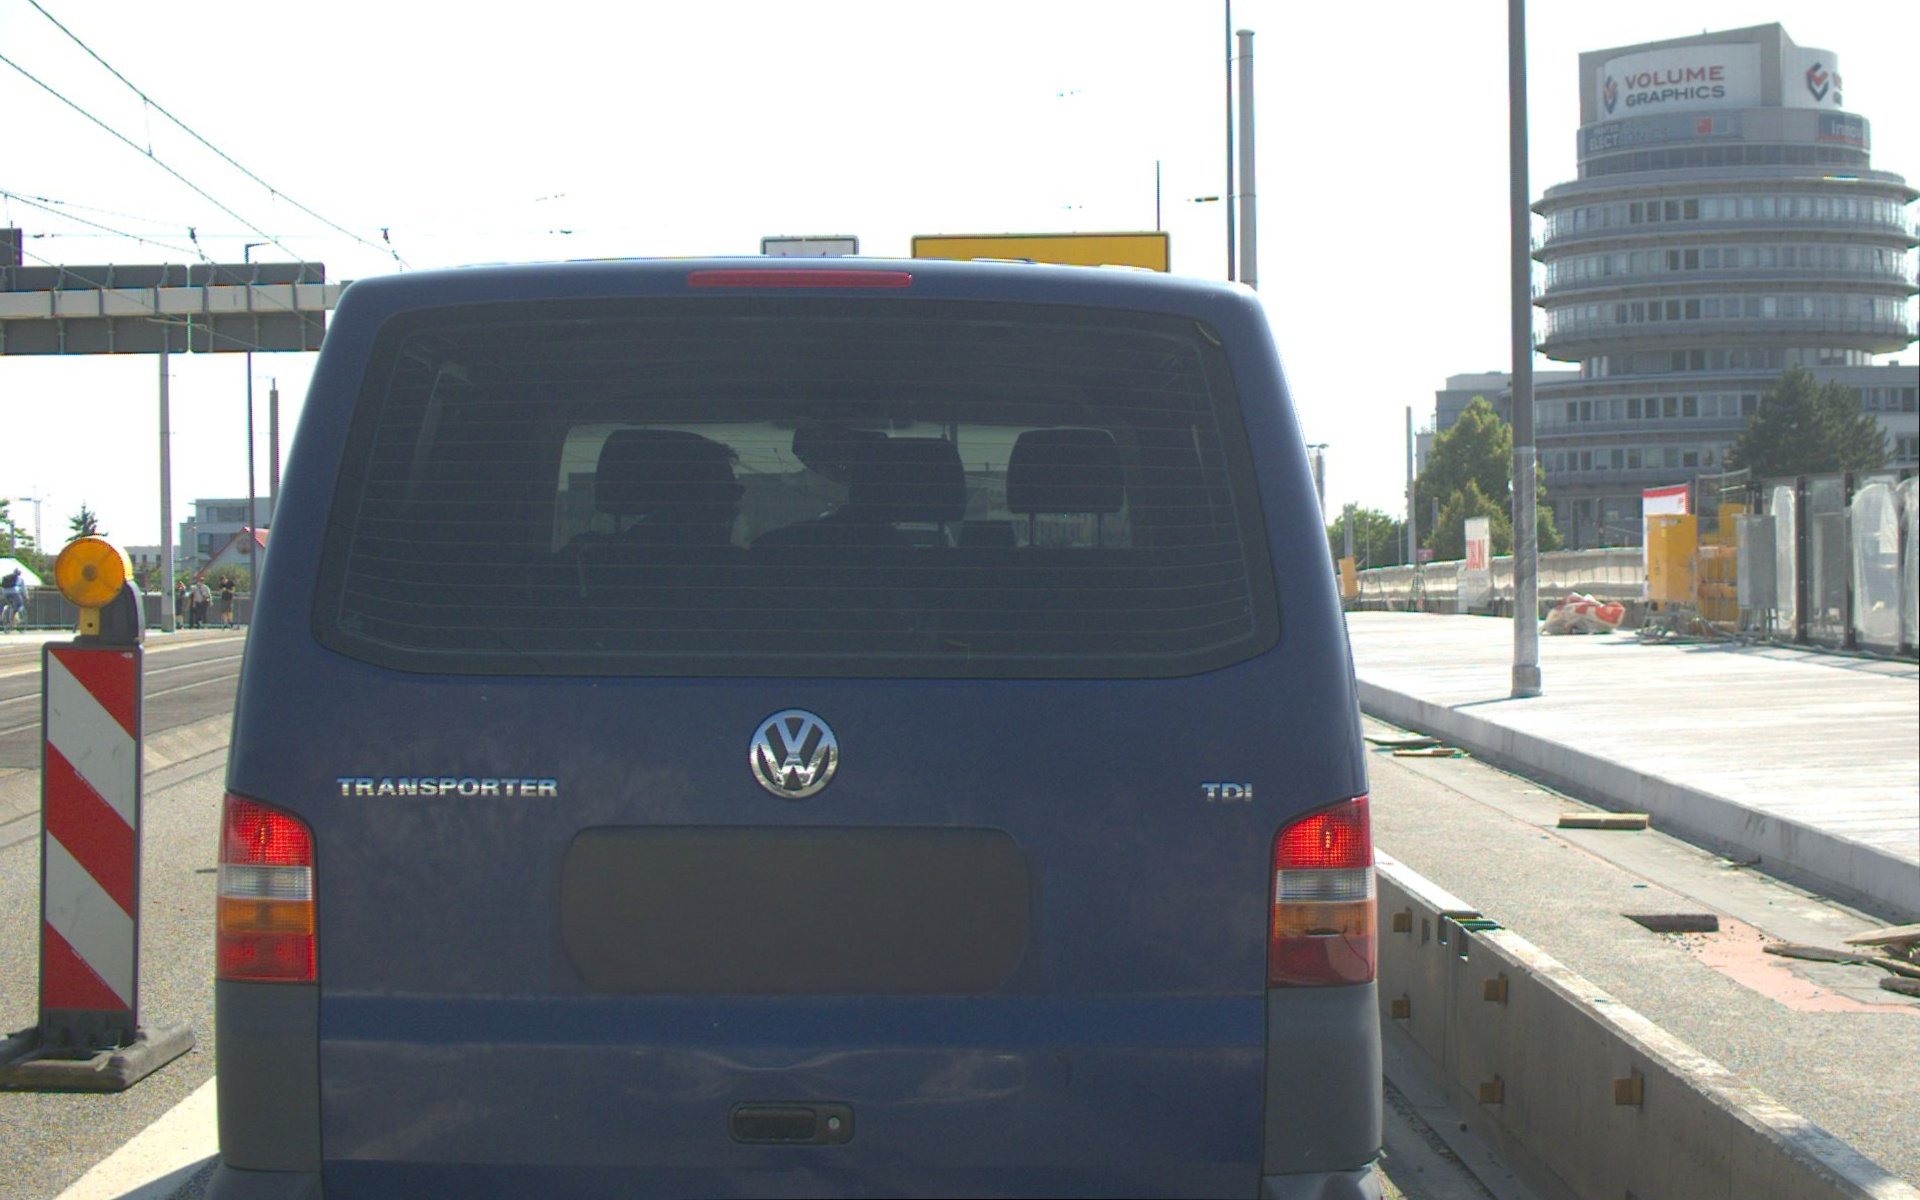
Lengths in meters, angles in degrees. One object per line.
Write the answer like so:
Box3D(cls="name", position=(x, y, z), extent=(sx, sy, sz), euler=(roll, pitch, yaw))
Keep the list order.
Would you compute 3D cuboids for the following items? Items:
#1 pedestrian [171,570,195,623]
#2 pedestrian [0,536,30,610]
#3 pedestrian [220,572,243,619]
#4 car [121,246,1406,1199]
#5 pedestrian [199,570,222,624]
Box3D(cls="pedestrian", position=(-25.790, -0.114, 114.059), extent=(0.634, 1.746, 0.752), euler=(0, 1, -1))
Box3D(cls="pedestrian", position=(-24.267, -0.695, 88.211), extent=(0.634, 1.887, 0.752), euler=(0, 1, -1))
Box3D(cls="pedestrian", position=(-24.882, -0.157, 117.419), extent=(0.634, 1.593, 0.752), euler=(0, 1, -1))
Box3D(cls="car", position=(-0.343, 0.409, 6.914), extent=(1.815, 1.899, 4.055), euler=(0, 1, -2))
Box3D(cls="pedestrian", position=(-24.987, -0.111, 114.619), extent=(0.634, 1.768, 0.752), euler=(0, 1, -1))
